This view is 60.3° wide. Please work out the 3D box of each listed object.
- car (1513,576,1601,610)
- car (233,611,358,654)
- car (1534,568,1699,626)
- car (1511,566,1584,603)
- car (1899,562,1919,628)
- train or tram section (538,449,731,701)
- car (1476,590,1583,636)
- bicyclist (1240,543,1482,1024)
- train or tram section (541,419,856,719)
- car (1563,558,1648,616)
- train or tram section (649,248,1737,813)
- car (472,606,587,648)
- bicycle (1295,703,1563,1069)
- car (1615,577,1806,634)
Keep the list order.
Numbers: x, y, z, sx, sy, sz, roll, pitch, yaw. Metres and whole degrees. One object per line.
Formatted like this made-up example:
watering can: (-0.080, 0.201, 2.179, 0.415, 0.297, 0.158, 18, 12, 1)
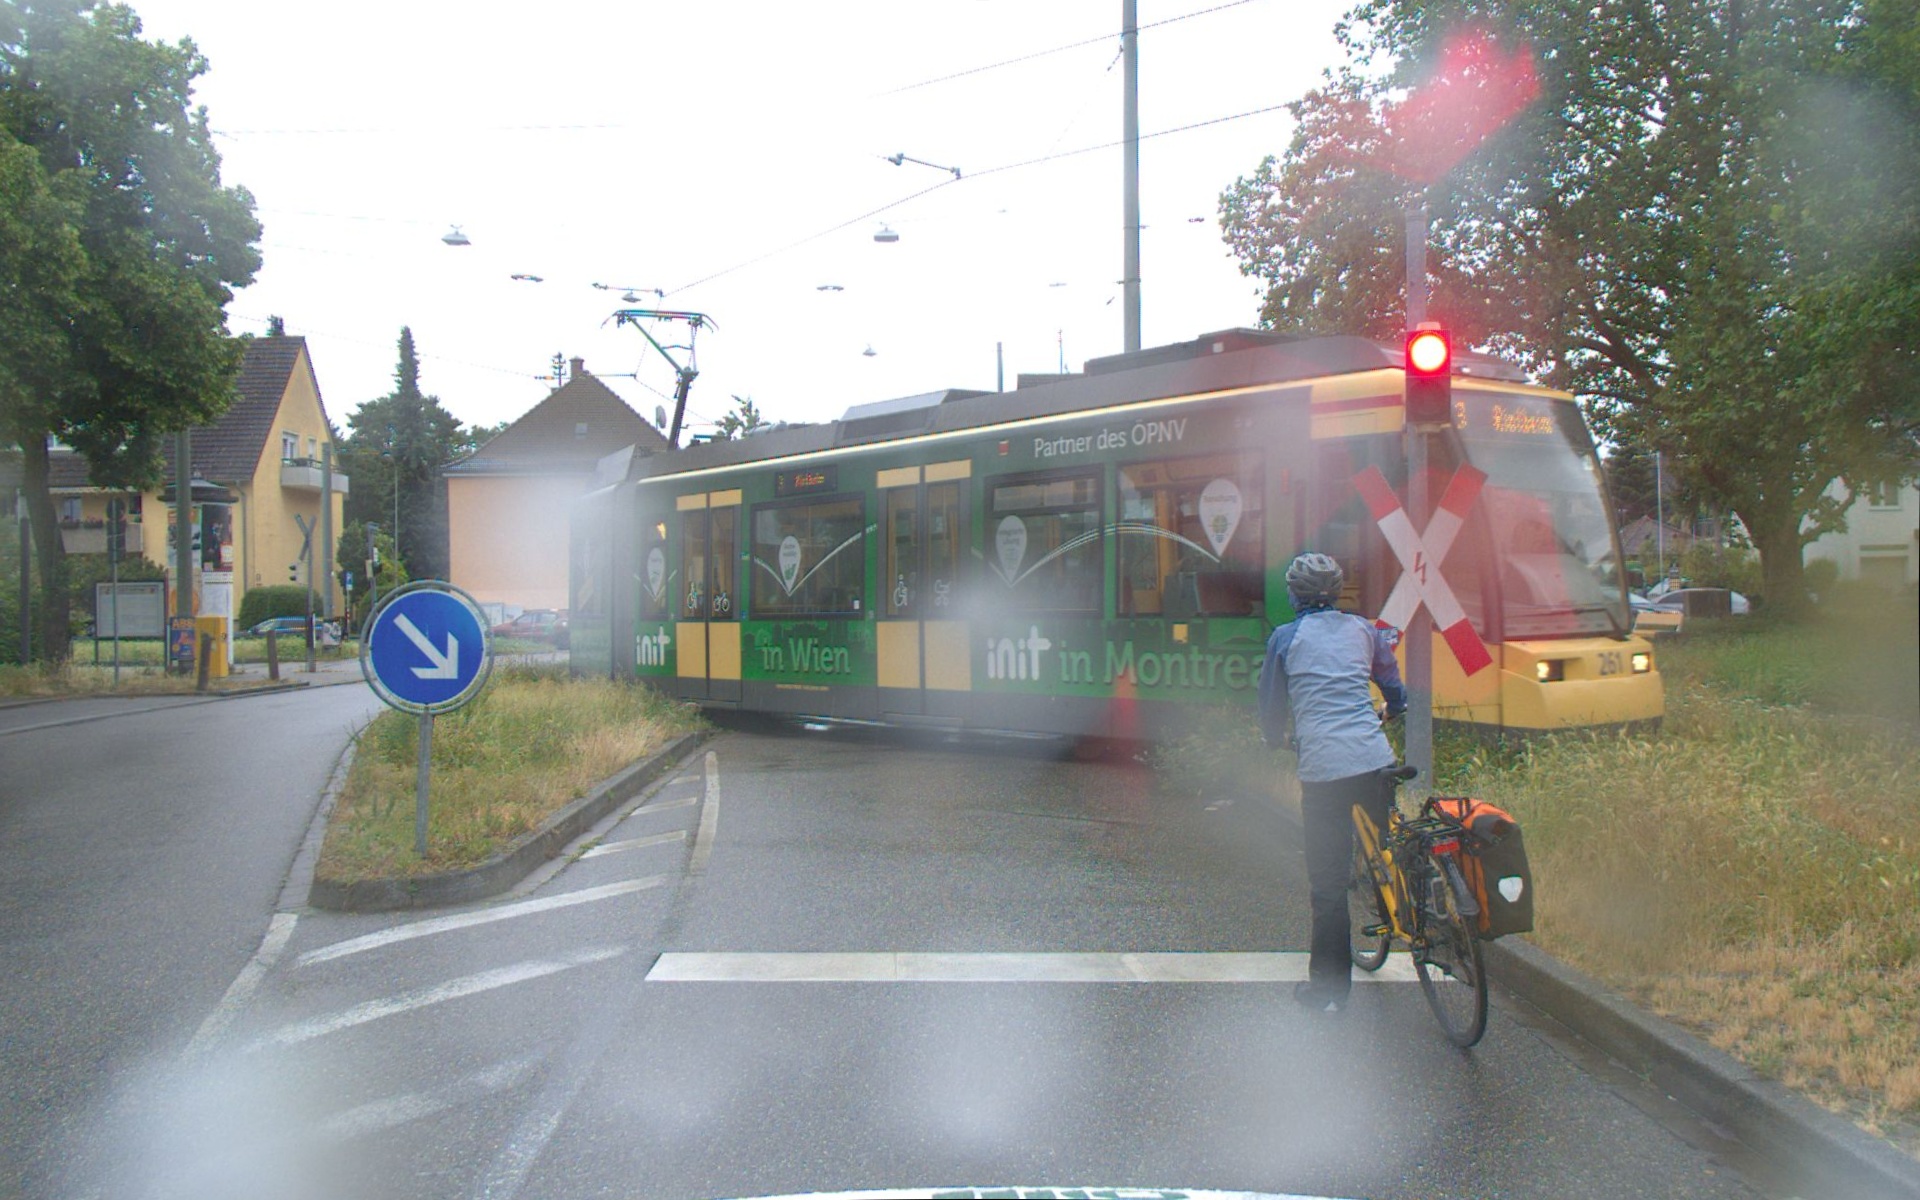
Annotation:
car: (31.065, -0.361, 86.067, 3.905, 1.668, 1.846, 1, 0, -1)
car: (-24.441, 1.191, 60.949, 3.911, 1.482, 1.831, 1, 0, -7)
car: (18.018, -0.077, 45.490, 3.848, 1.522, 1.798, 1, -1, 43)
car: (34.209, -0.887, 96.419, 1.963, 2.049, 3.978, 1, 0, -19)
car: (28.140, -0.115, 45.522, 3.703, 1.829, 1.798, 1, -1, 43)
train or tram section: (-6.218, -0.378, 30.410, 2.713, 3.615, 13.086, -1, 0, -13)
car: (22.610, 0.505, 65.735, 3.609, 1.731, 1.890, 1, 0, 0)
bicyclist: (1.464, 0.639, 6.158, 0.653, 1.654, 0.852, 1, -1, -2)
train or tram section: (-3.748, -0.384, 22.824, 2.731, 3.615, 4.939, -1, 0, -29)
car: (28.825, -0.568, 74.020, 1.953, 2.485, 4.352, 1, 0, -2)
train or tram section: (1.003, -0.423, 16.197, 2.742, 3.615, 12.036, -1, 0, -38)
car: (-16.186, 1.010, 62.321, 3.911, 1.482, 1.831, 1, 0, -7)
bicycle: (1.652, 0.952, 6.068, 0.437, 1.022, 1.727, -1, 1, -2)
car: (18.470, 0.147, 40.854, 3.902, 1.308, 1.847, 1, 0, 6)
